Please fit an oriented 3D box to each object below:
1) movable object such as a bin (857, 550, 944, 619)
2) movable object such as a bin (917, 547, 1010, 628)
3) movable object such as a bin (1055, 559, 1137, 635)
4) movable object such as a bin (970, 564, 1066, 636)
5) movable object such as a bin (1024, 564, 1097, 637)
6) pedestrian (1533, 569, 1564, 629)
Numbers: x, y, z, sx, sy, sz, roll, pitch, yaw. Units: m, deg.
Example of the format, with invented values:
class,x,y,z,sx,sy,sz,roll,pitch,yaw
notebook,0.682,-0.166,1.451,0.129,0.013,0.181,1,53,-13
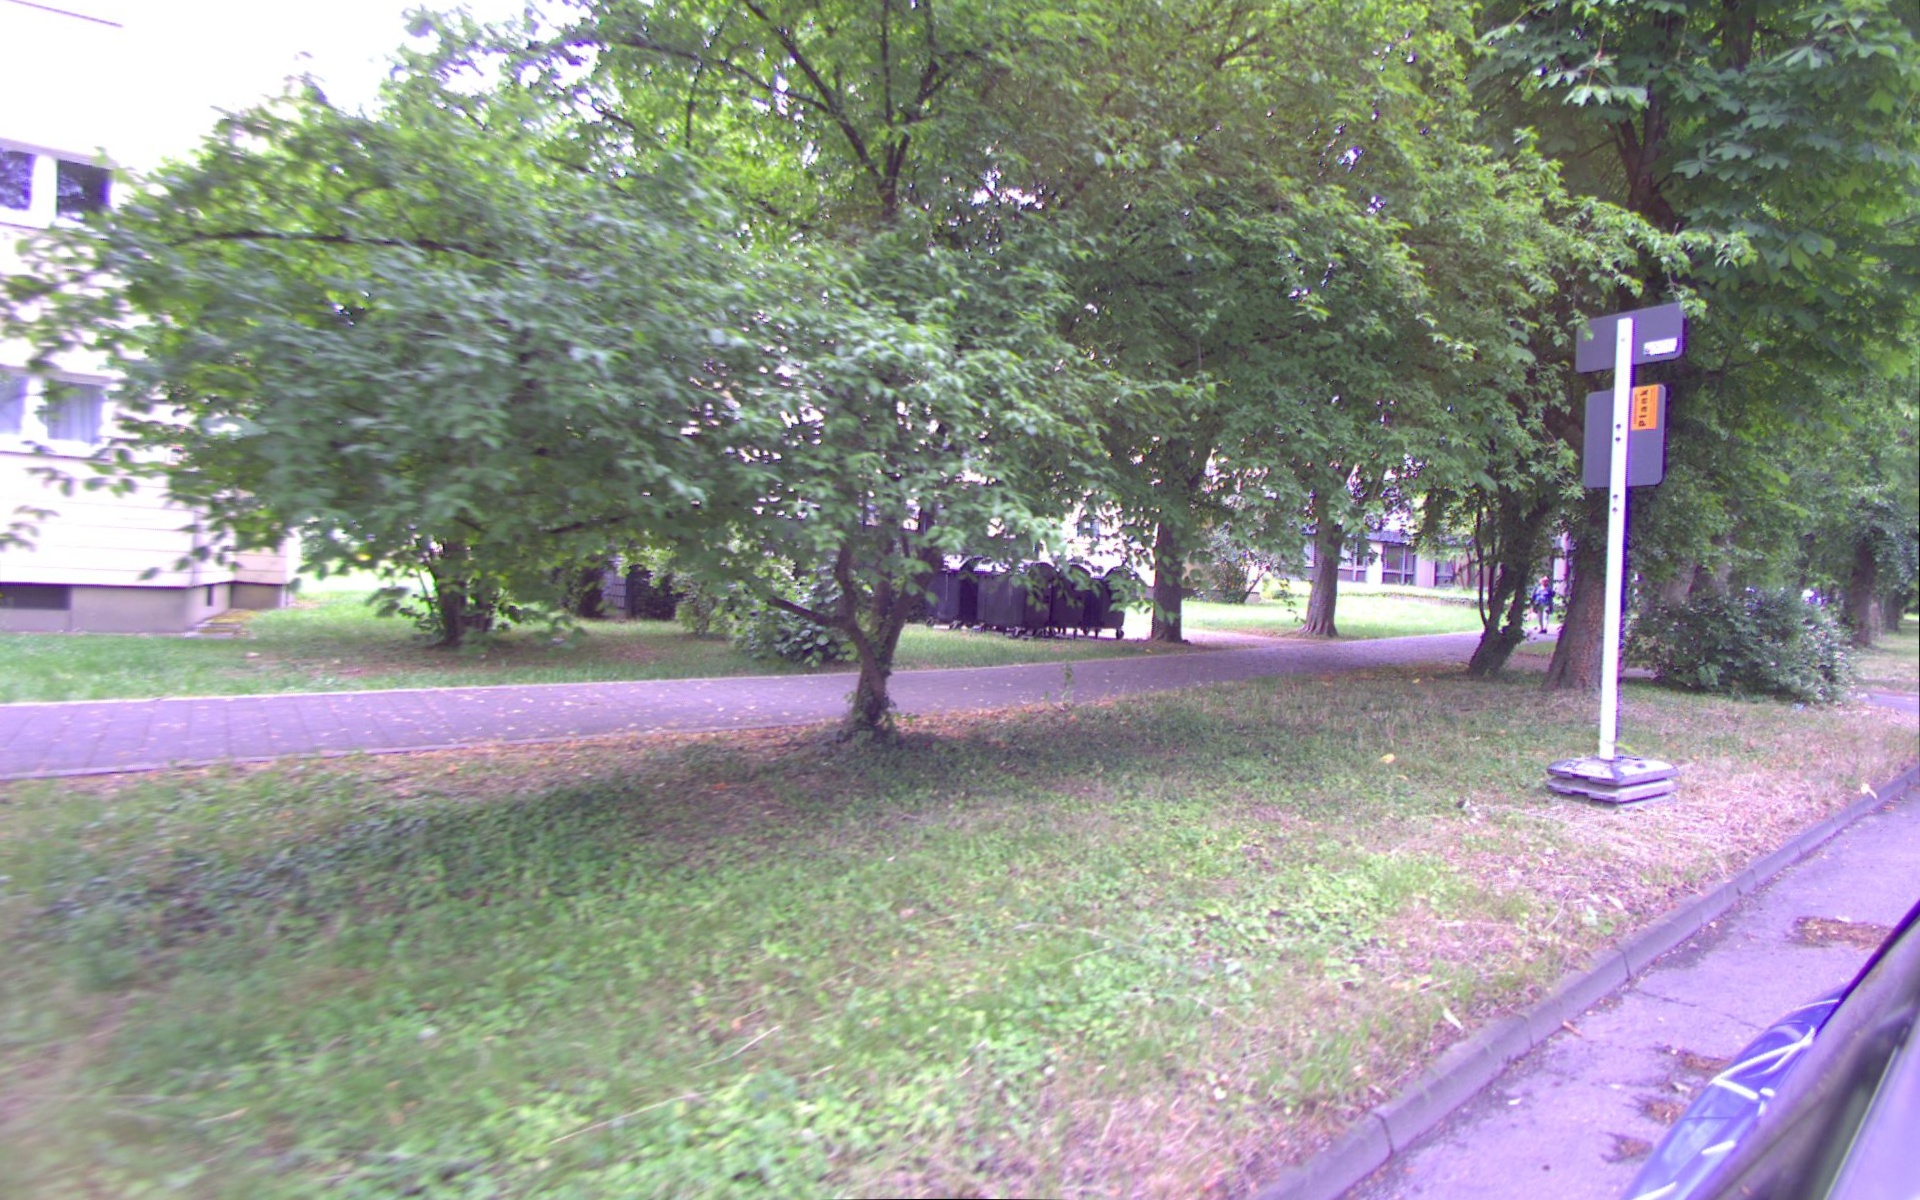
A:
class,x,y,z,sx,sy,sz,roll,pitch,yaw
movable object such as a bin,-1.233,-0.329,21.028,1.189,1.358,1.329,4,2,39
movable object such as a bin,0.072,-0.251,19.595,1.189,1.474,1.329,3,2,39
movable object such as a bin,2.728,-0.073,20.300,1.189,1.431,1.095,3,2,40
movable object such as a bin,1.086,-0.023,18.756,1.189,1.235,1.329,4,2,39
movable object such as a bin,1.949,-0.008,19.558,1.021,1.320,0.947,3,2,39
pedestrian,17.638,-0.043,30.315,0.560,1.761,0.565,1,3,-43
